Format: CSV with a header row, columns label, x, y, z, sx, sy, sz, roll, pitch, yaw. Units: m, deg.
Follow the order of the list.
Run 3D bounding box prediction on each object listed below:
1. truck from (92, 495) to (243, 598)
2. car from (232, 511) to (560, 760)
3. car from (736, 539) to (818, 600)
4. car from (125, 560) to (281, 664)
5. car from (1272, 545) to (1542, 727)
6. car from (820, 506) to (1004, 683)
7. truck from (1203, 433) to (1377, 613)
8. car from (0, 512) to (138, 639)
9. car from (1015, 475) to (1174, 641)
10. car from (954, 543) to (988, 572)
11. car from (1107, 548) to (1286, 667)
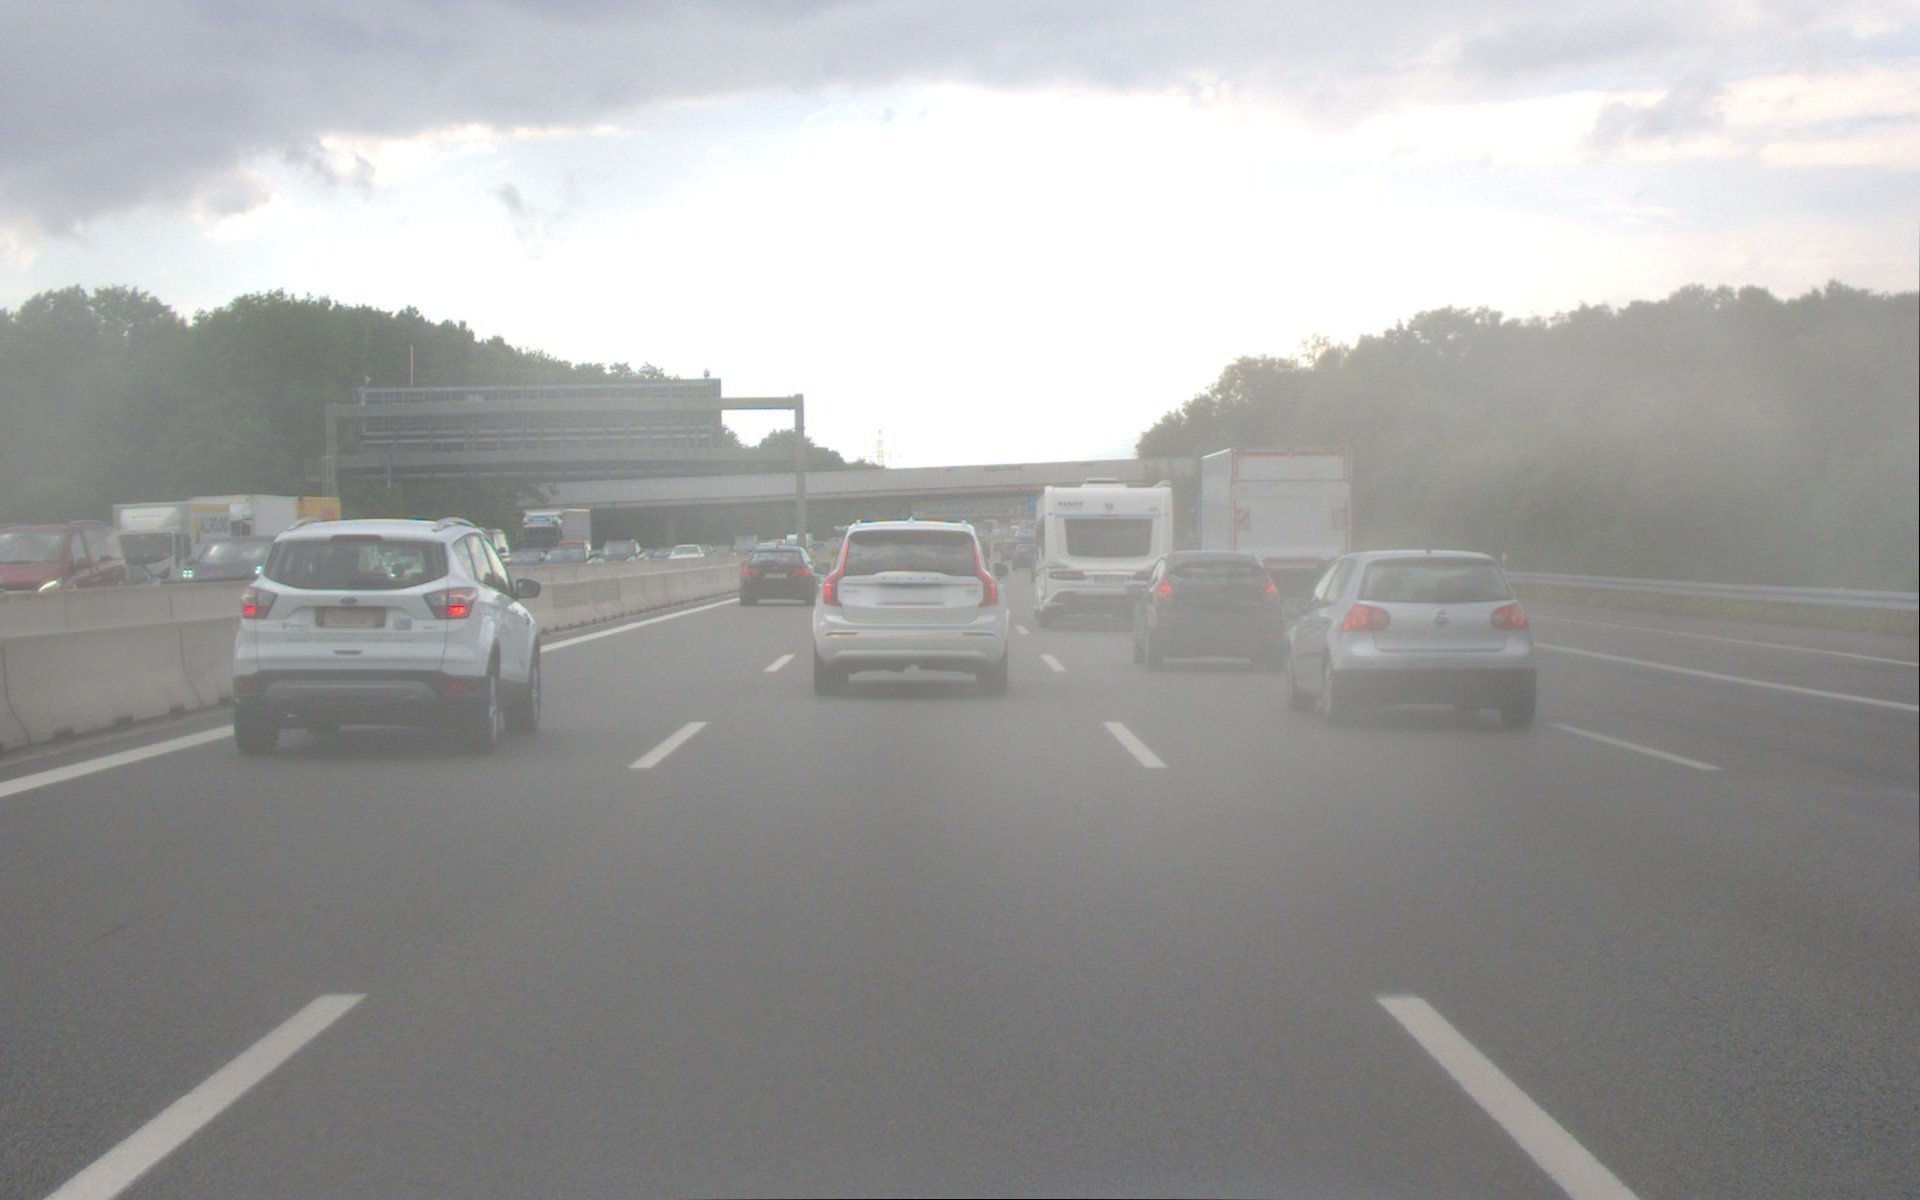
label,x,y,z,sx,sy,sz,roll,pitch,yaw
truck,-26.282,-1.793,114.483,2.910,3.279,9.202,0,1,0
car,-4.133,0.190,25.895,1.815,1.684,4.852,0,1,-2
car,-4.555,-0.781,86.096,1.781,1.476,4.353,0,1,1
car,-14.472,0.198,65.933,1.993,1.897,4.503,0,1,0
car,3.811,0.263,29.937,1.795,1.472,4.038,0,1,0
car,-0.496,-0.085,35.491,1.781,1.710,4.353,0,1,-1
truck,7.135,-1.667,75.731,3.133,3.697,9.847,0,1,2
car,-15.284,-0.425,57.132,1.993,2.007,5.419,0,1,0
car,2.410,-0.788,63.738,2.567,2.885,7.534,0,1,-1
car,0.657,-2.544,205.125,1.881,1.680,4.001,0,1,-2
car,2.890,0.053,42.789,1.885,1.402,4.283,0,1,-1
